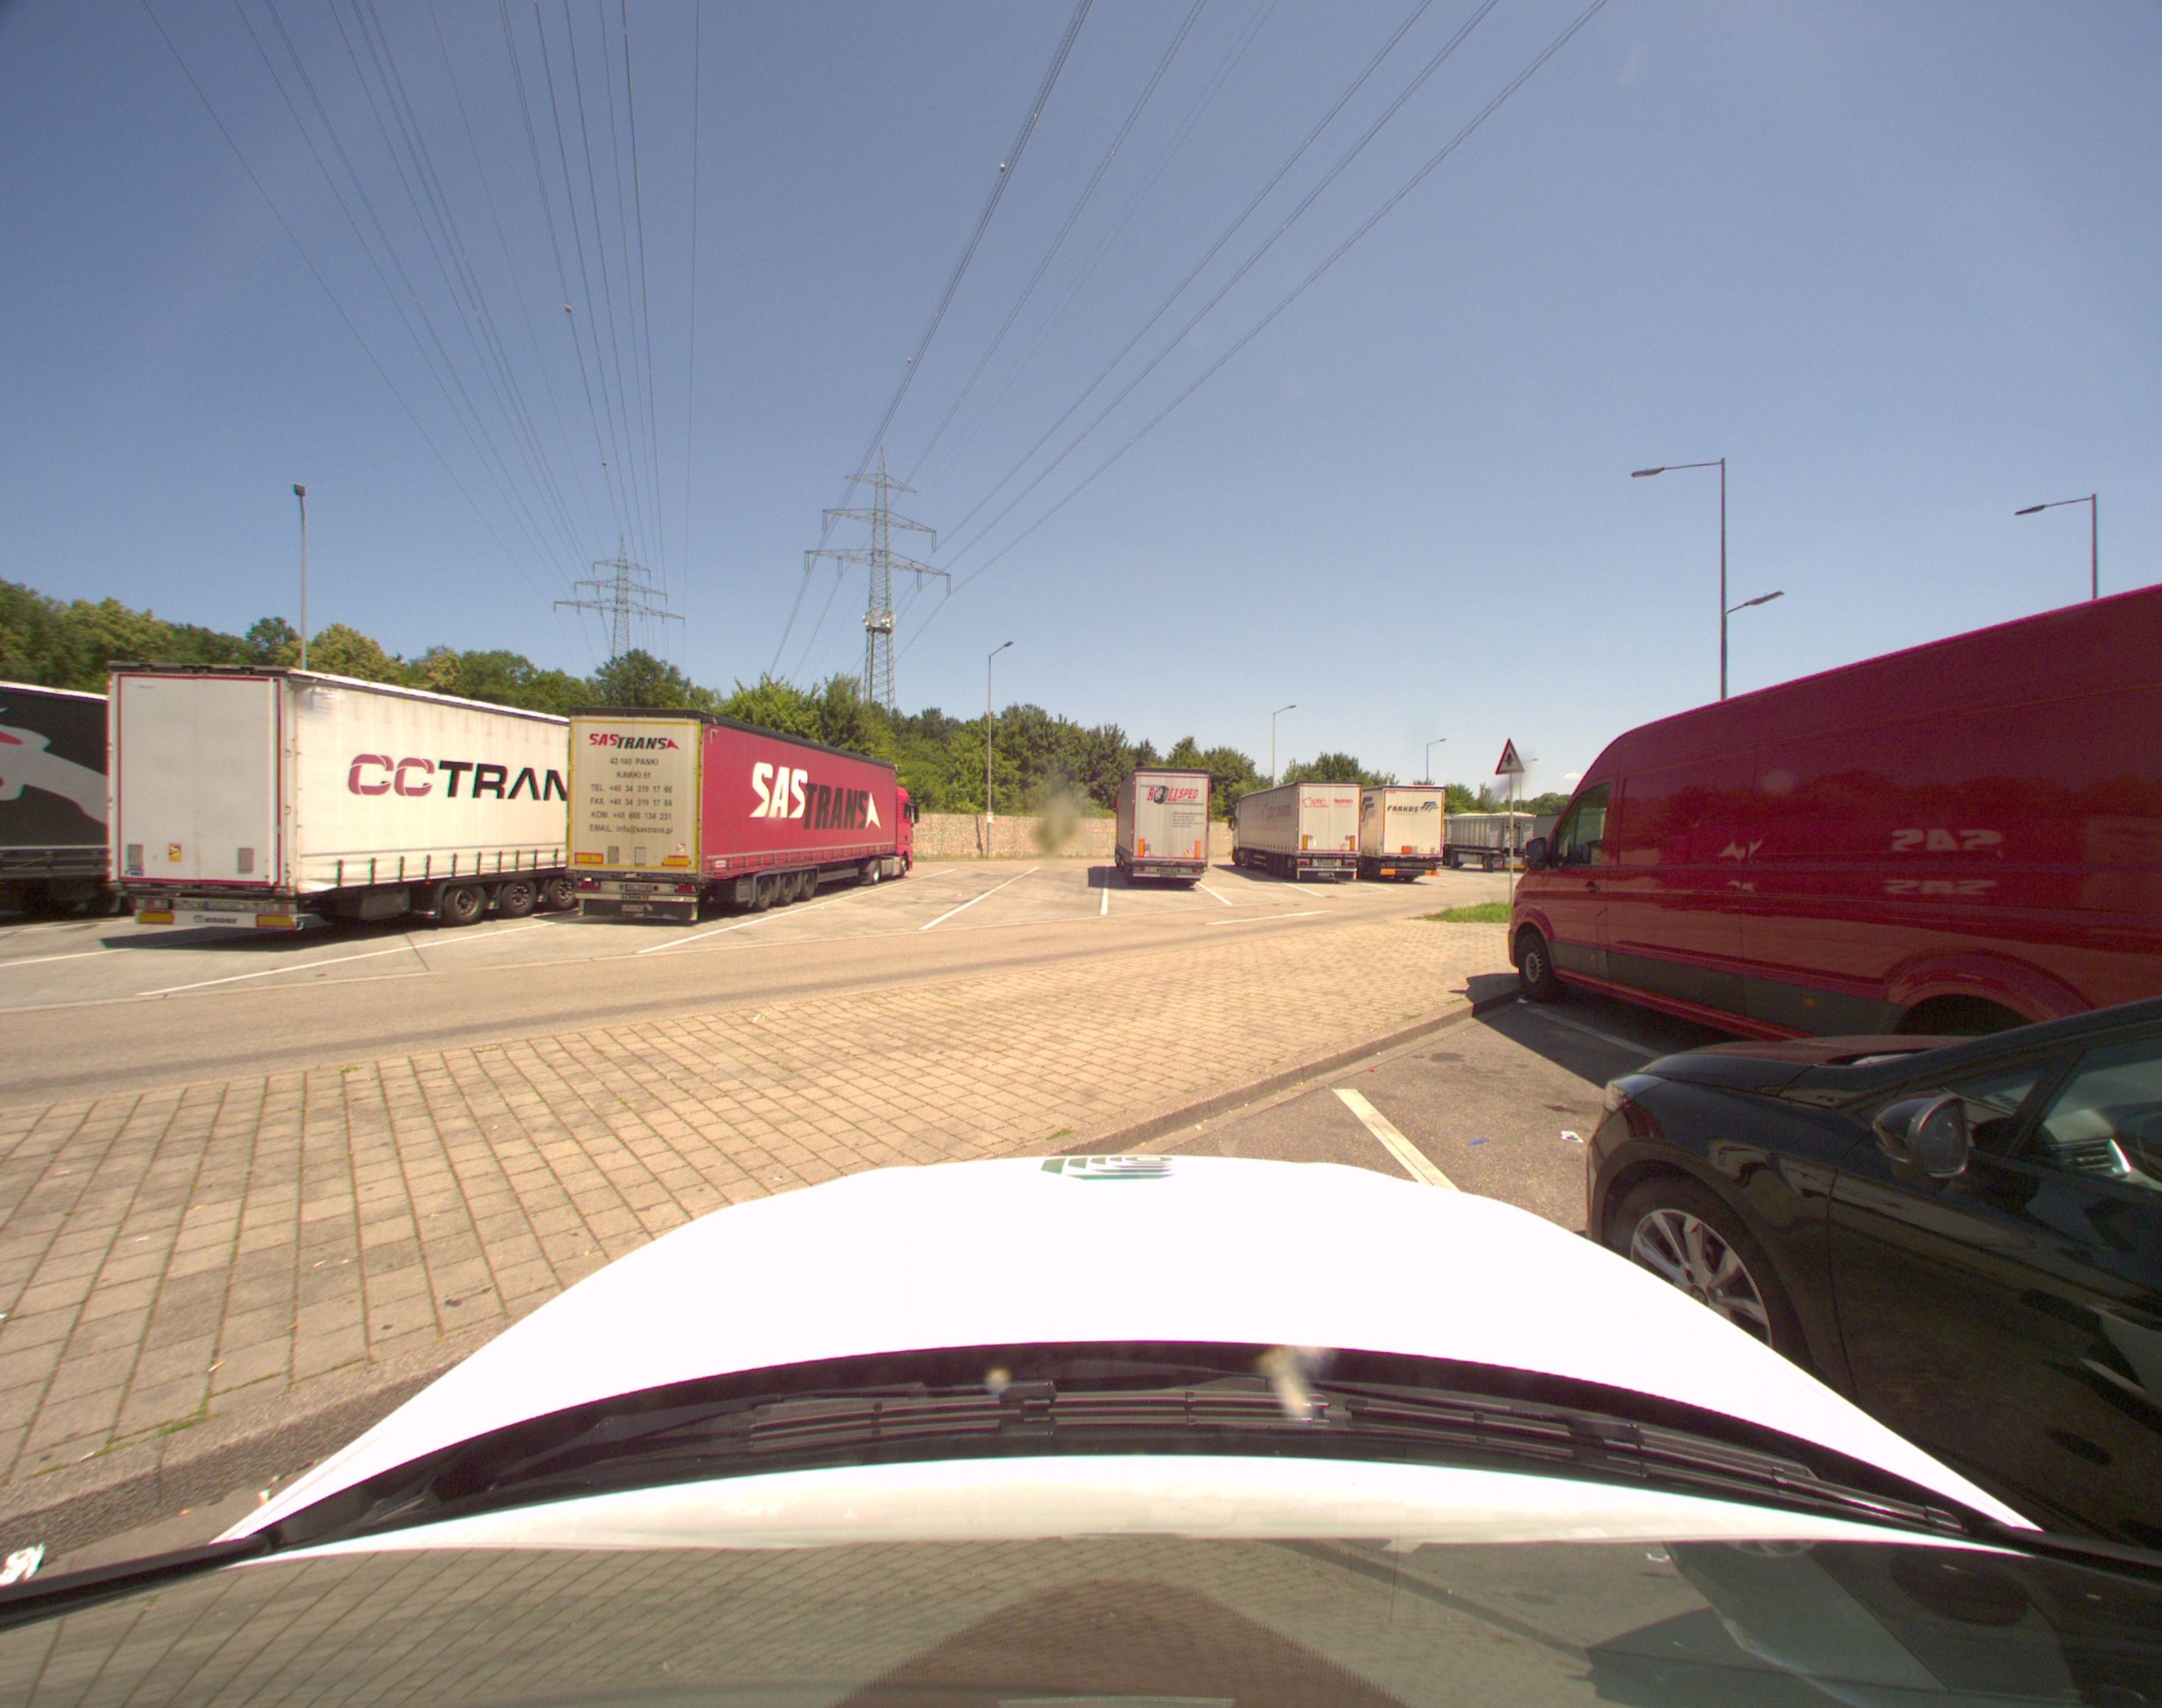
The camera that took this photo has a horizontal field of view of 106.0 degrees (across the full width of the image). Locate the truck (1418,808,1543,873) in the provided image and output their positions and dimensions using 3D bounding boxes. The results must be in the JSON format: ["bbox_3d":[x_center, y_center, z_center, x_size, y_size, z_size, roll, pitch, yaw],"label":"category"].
[{"bbox_3d":[24.300,-0.960,50.475,2.478,3.568,11.429,1,2,2],"label":"truck"}]

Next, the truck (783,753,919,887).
[{"bbox_3d":[-7.751,-1.158,28.327,2.686,4.112,6.243,1,2,2],"label":"truck"}]

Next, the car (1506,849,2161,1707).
[{"bbox_3d":[2.450,0.757,1.118,1.612,1.483,3.762,-1,1,-4],"label":"car"}]

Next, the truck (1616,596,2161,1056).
[{"bbox_3d":[7.935,-0.209,7.041,2.455,2.792,6.978,0,1,4],"label":"truck"}]

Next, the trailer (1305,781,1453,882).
[{"bbox_3d":[13.640,-1.126,38.853,2.856,4.037,12.445,1,2,2],"label":"trailer"}]

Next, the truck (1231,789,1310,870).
[{"bbox_3d":[10.179,-1.372,44.510,2.856,4.037,6.960,1,2,2],"label":"truck"}]

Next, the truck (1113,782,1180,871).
[{"bbox_3d":[3.138,-1.398,40.794,2.857,4.037,7.029,0,2,1],"label":"truck"}]

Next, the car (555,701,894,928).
[{"bbox_3d":[-8.052,-0.938,21.411,2.686,4.112,12.943,1,2,2],"label":"car"}]

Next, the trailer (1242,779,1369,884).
[{"bbox_3d":[9.953,-1.106,37.878,2.856,4.037,12.445,1,2,2],"label":"trailer"}]

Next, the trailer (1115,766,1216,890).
[{"bbox_3d":[3.044,-1.107,33.706,2.857,4.037,14.244,0,2,1],"label":"trailer"}]

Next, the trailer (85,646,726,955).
[{"bbox_3d":[-12.166,-0.979,17.767,2.803,4.266,12.947,0,2,2],"label":"trailer"}]

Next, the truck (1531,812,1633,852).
[{"bbox_3d":[38.035,-1.646,62.352,2.117,2.820,9.783,-1,1,2],"label":"truck"}]

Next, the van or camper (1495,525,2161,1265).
[{"bbox_3d":[5.134,0.102,5.469,1.986,2.654,6.490,-1,1,6],"label":"van or camper"}]

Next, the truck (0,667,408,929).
[{"bbox_3d":[-18.621,-1.027,16.249,2.803,4.190,8.793,0,2,2],"label":"truck"}]
